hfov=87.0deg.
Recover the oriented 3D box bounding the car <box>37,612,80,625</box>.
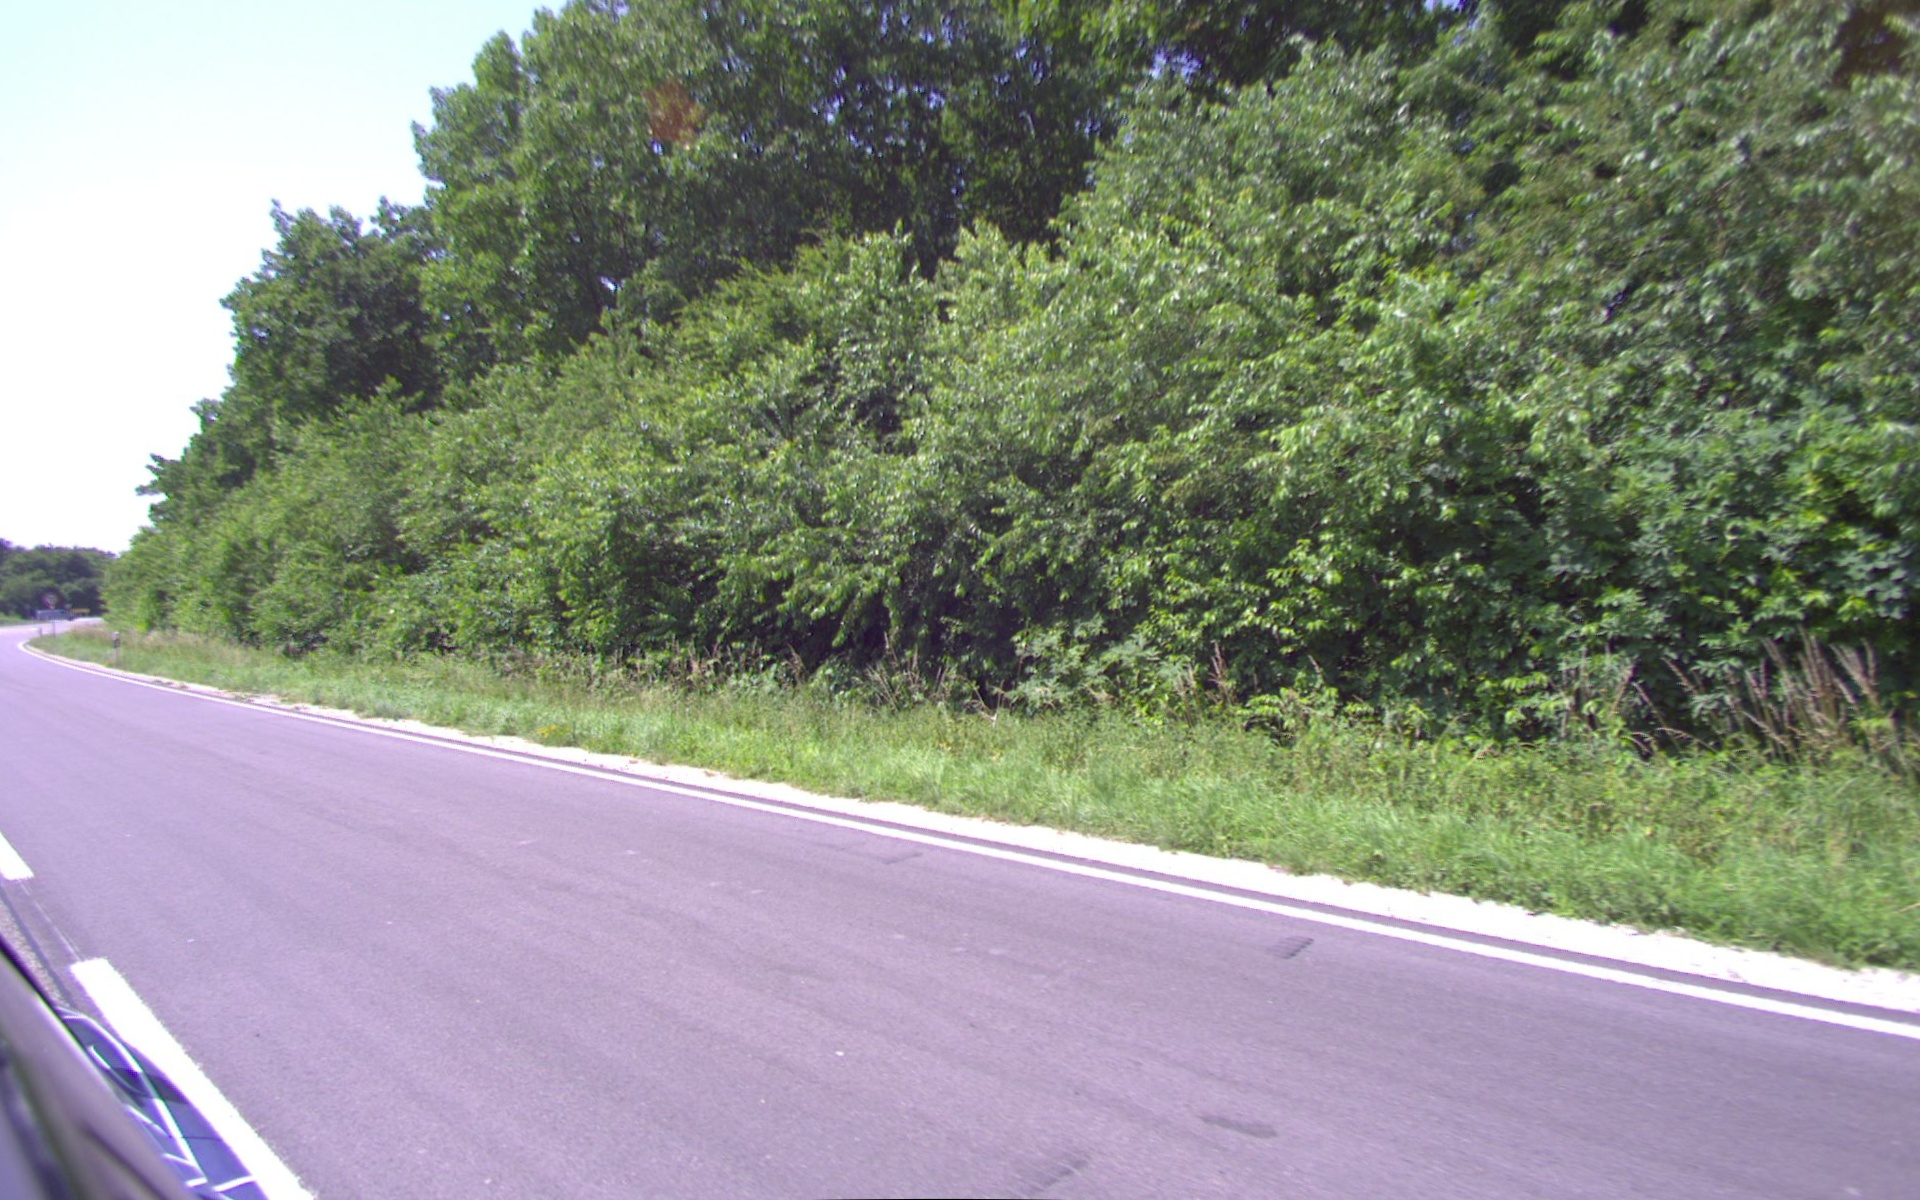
[{"bbox_3d":[-152.105,3.116,170.826,2.013,1.921,5.159,1,2,41],"label":"car"}]
